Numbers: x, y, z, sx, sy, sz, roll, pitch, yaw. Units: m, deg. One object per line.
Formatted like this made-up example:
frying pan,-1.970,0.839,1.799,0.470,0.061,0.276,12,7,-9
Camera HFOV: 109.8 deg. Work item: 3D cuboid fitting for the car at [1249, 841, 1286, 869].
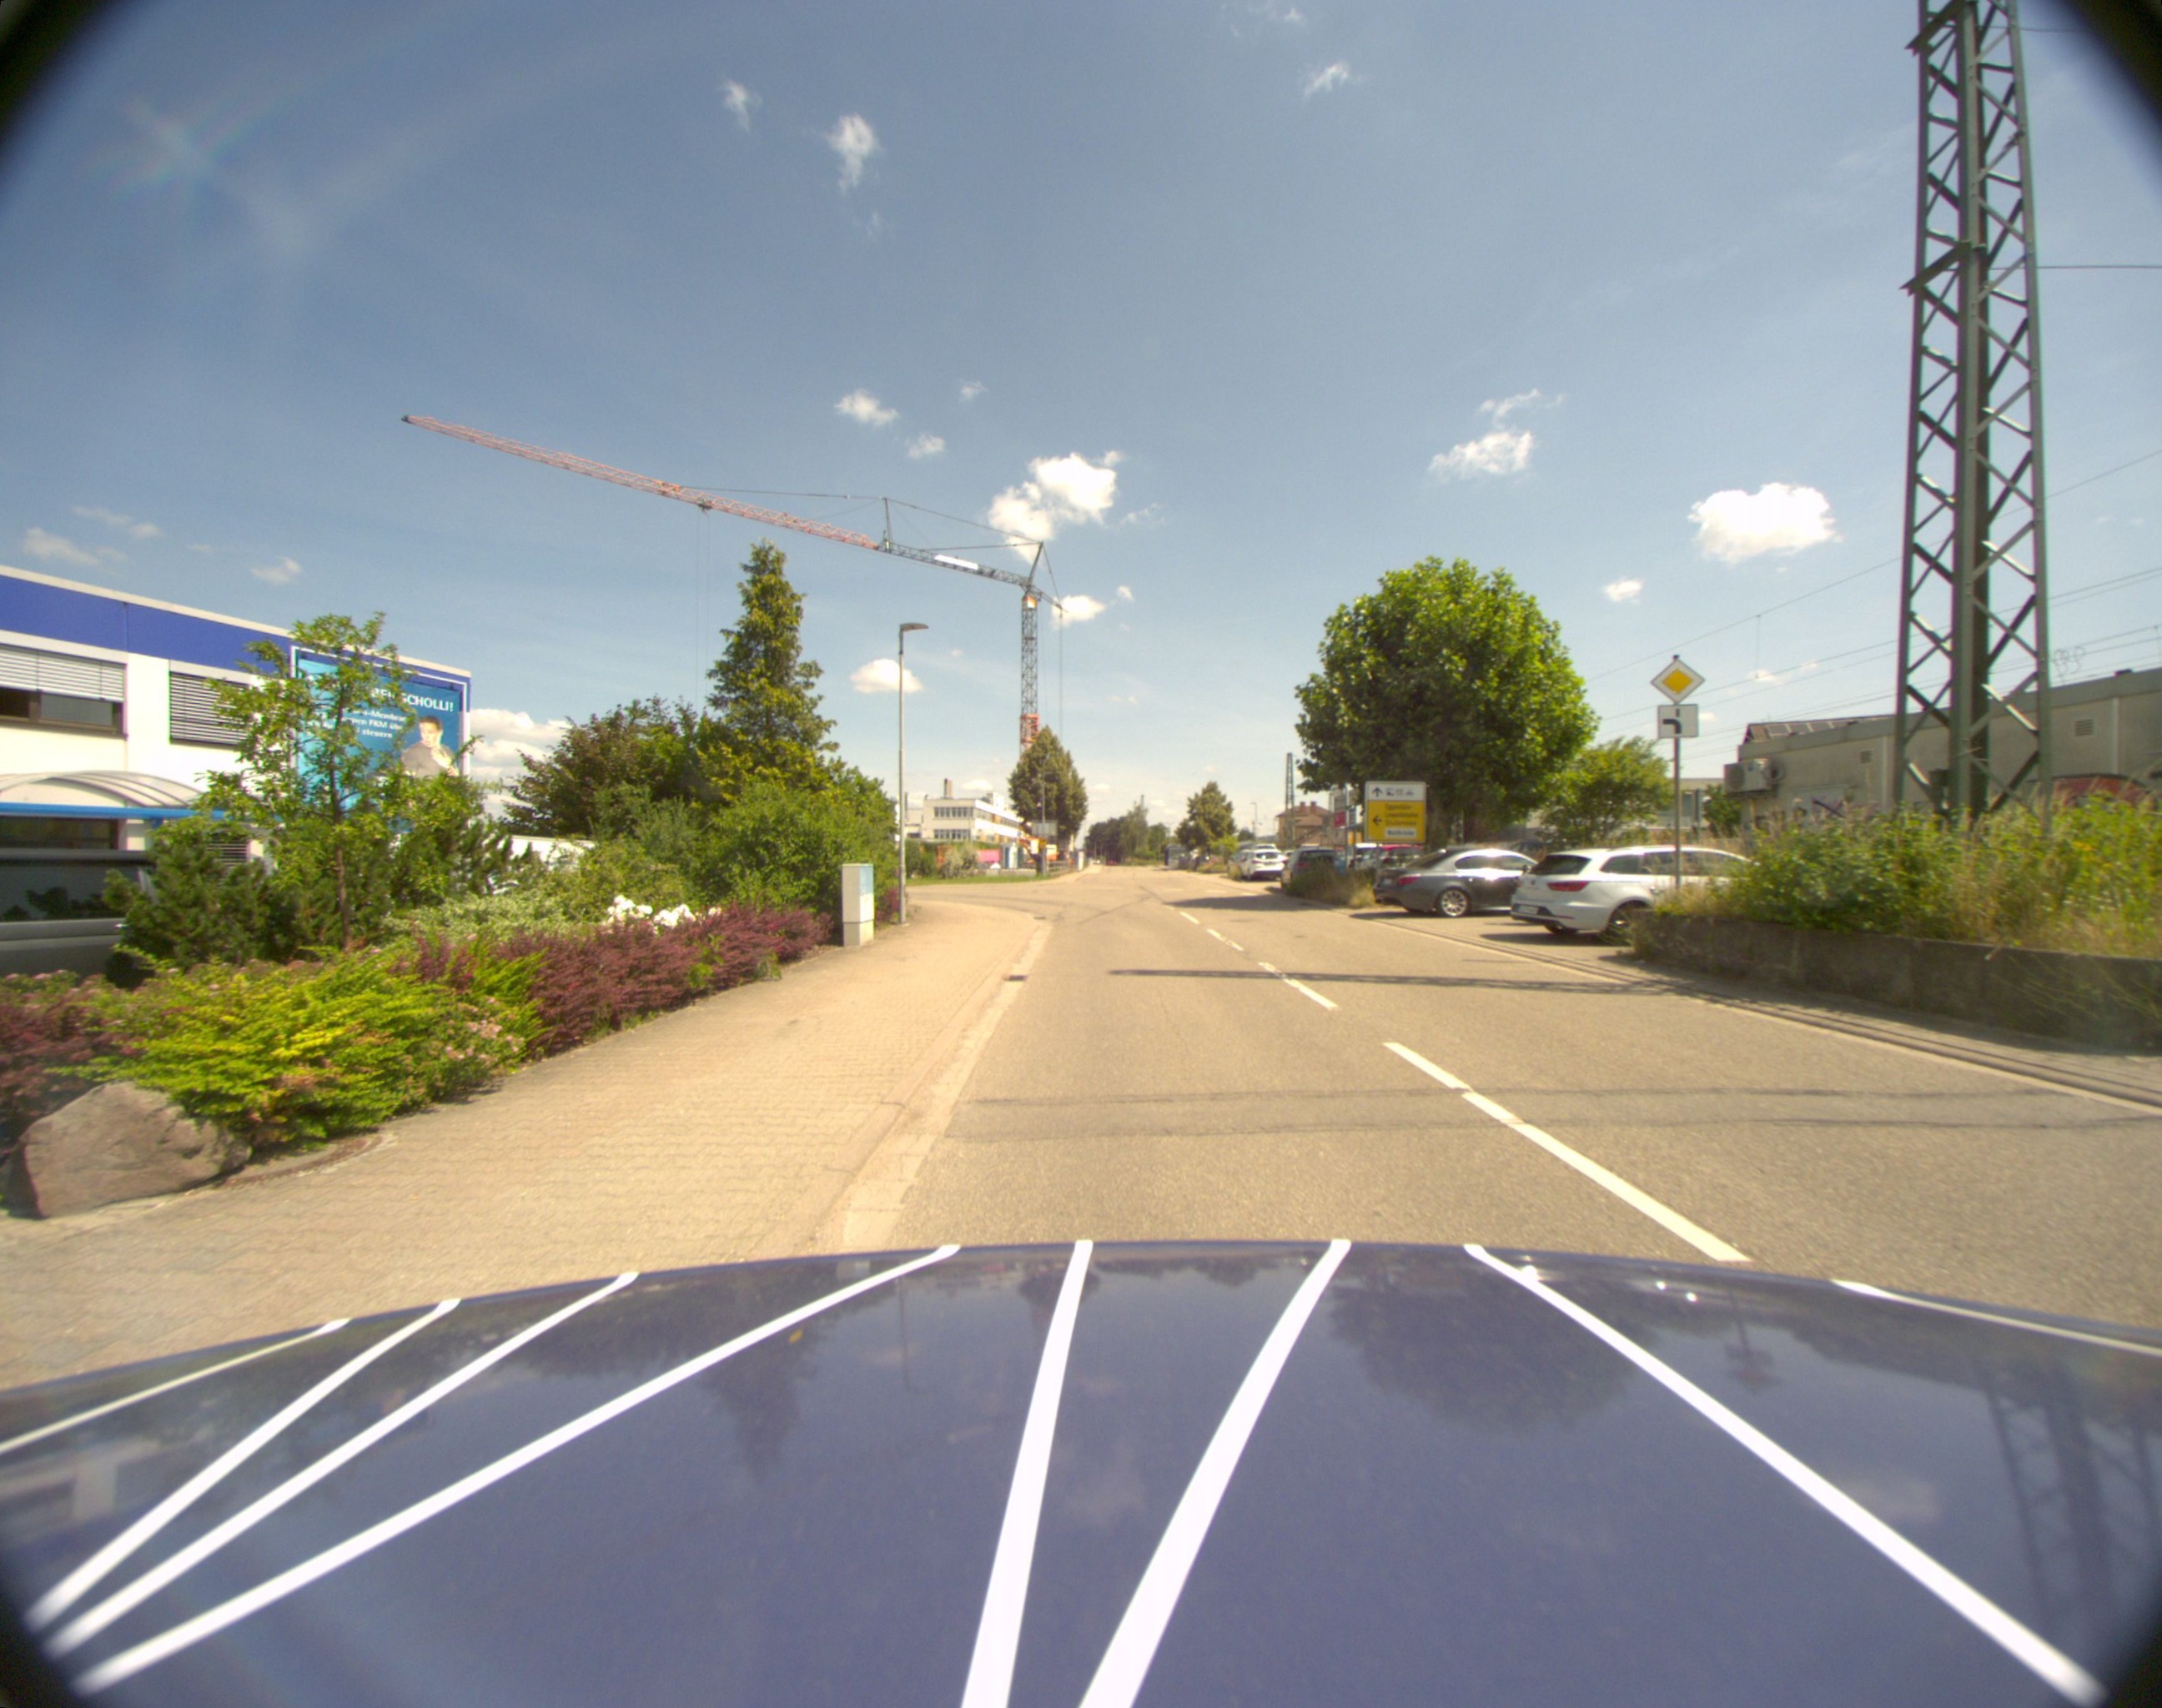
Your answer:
car,12.783,0.052,52.263,1.952,1.822,3.837,0,0,7

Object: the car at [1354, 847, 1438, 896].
car,10.586,0.539,25.810,1.794,1.528,3.580,0,0,8

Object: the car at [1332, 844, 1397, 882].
car,13.510,0.387,36.407,1.997,1.648,4.264,-1,1,8

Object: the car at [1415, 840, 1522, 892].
car,13.124,0.367,26.032,1.997,1.628,4.089,0,0,8

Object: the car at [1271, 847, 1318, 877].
car,11.882,0.411,42.563,1.804,1.555,4.264,0,0,5

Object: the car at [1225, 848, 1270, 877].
car,9.230,0.459,42.486,1.794,1.535,3.961,0,0,3

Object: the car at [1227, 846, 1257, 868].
car,12.688,0.234,60.133,1.732,1.676,4.001,1,0,3

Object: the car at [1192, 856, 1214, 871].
car,11.238,0.856,70.197,1.607,1.342,4.001,0,0,3

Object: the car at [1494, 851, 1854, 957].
car,8.787,0.694,11.521,4.083,1.394,1.786,-1,0,-1

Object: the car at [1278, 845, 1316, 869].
car,15.337,0.194,54.141,1.952,1.599,4.274,0,0,7

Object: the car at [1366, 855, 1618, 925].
car,8.648,0.733,16.244,4.438,1.402,1.787,0,0,-1

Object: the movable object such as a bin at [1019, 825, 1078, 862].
movable object such as a bin,-3.096,-0.968,71.656,5.132,3.276,2.390,0,6,-15

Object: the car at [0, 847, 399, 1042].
car,-11.117,0.891,8.516,1.899,1.788,4.797,1,2,19

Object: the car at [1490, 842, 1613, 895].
car,15.729,0.447,25.704,1.997,1.628,4.088,0,0,7

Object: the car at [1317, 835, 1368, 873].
car,14.629,-0.001,42.744,1.849,2.002,4.002,0,0,6

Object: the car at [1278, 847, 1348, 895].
car,7.979,0.529,26.461,1.688,1.522,4.065,0,0,8

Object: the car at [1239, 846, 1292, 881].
car,8.786,0.410,36.489,1.807,1.555,4.263,0,0,4
